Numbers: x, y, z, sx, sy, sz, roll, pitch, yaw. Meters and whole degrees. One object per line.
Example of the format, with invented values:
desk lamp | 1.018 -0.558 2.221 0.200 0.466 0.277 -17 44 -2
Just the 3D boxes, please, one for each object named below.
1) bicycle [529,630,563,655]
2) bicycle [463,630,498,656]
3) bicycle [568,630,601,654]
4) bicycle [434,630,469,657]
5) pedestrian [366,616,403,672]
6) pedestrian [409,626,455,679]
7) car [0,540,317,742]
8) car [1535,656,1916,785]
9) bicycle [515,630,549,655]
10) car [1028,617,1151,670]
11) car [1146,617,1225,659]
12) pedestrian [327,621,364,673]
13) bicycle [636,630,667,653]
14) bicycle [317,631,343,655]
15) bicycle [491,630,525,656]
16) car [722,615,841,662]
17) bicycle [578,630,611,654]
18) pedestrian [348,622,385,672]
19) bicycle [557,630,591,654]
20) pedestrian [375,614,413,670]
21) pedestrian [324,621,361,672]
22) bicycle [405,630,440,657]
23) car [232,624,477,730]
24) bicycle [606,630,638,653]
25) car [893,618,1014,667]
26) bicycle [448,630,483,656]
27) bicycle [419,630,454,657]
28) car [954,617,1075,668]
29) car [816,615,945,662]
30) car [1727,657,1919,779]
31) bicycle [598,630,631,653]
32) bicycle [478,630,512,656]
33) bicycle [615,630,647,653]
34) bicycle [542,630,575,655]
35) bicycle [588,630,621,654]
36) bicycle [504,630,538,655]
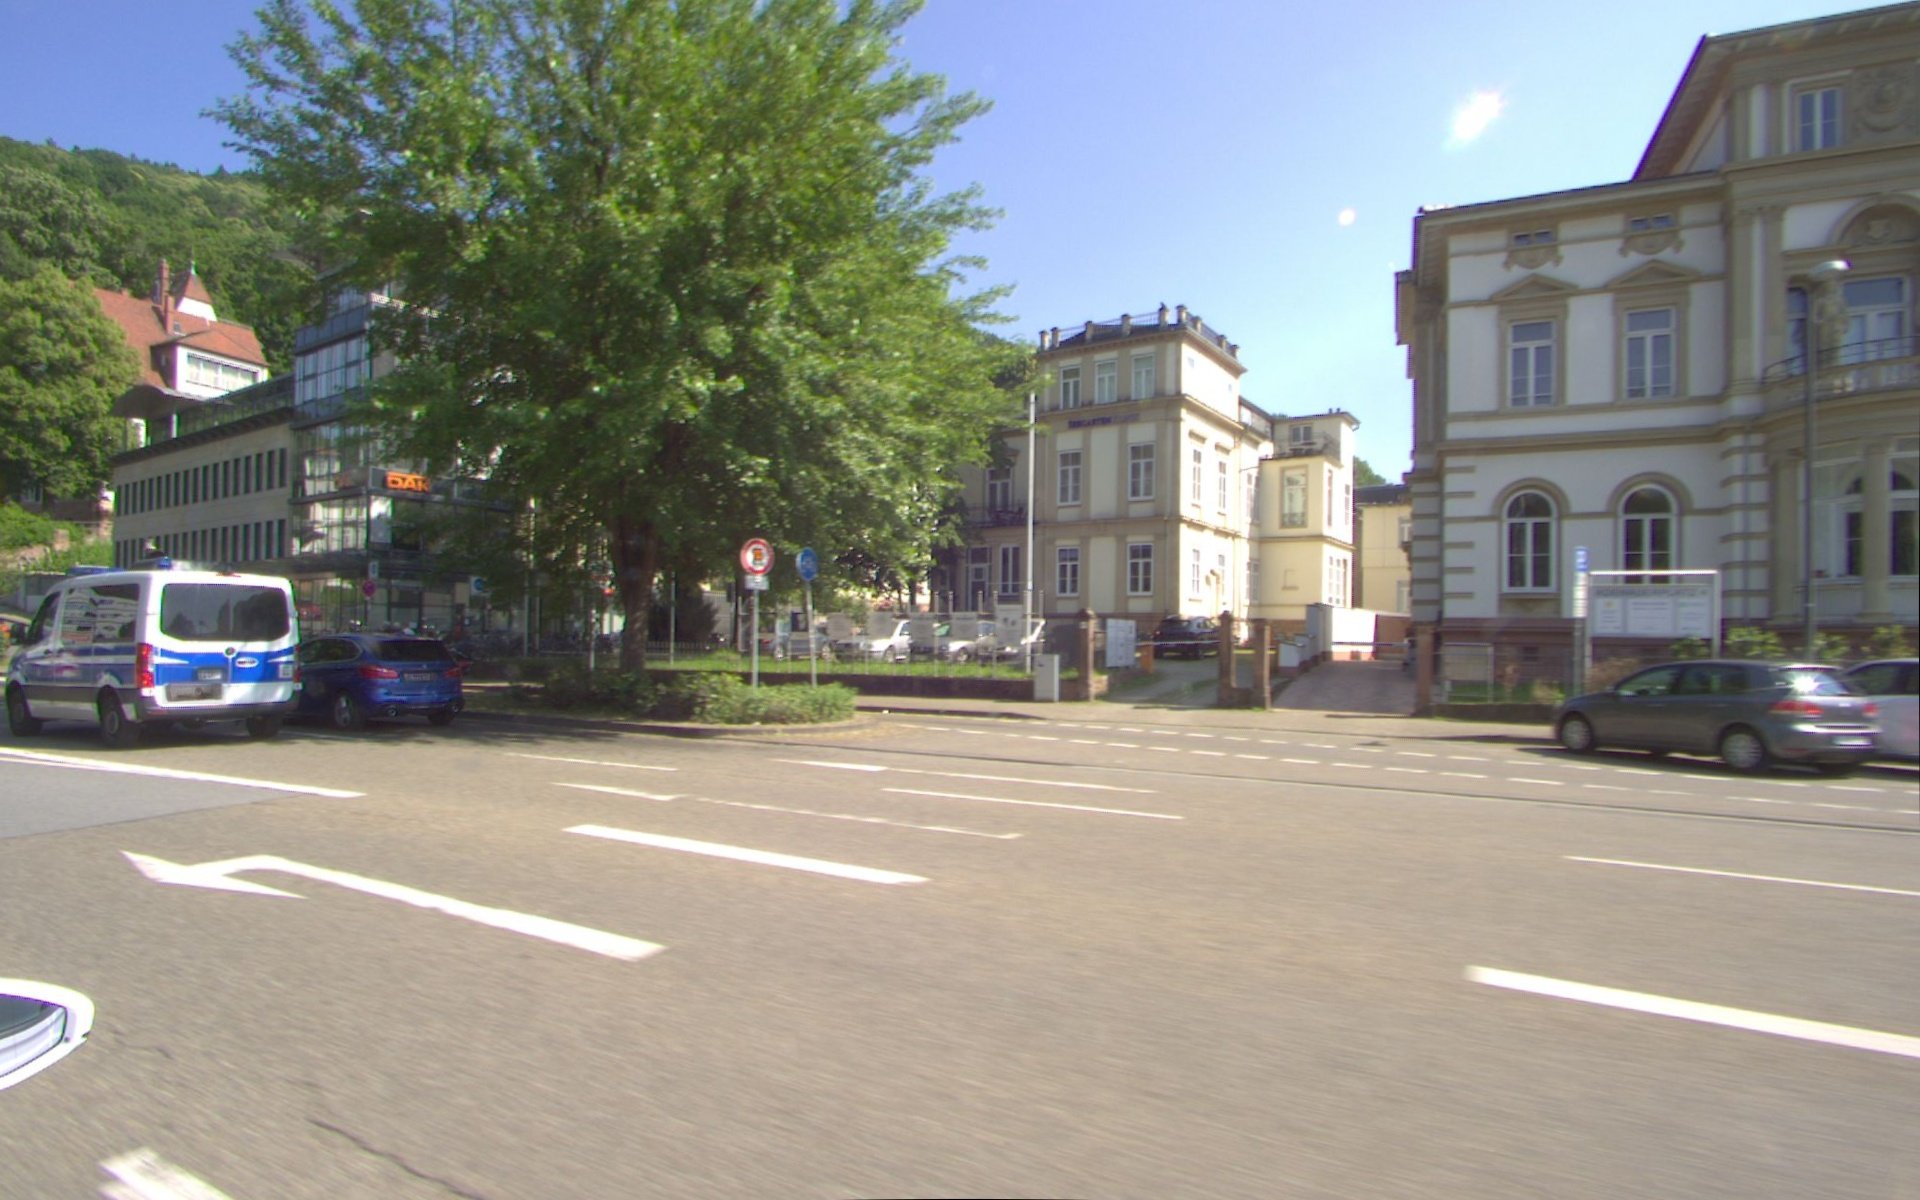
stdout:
bicycle | -18.935 1.933 45.810 1.810 1.099 0.536 0 -1 35
bicycle | -20.747 1.849 43.317 1.810 1.099 0.536 0 -1 35
bicycle | -17.770 1.985 47.337 1.810 1.099 0.536 0 -1 35
bicycle | -21.514 1.817 42.375 1.810 1.099 0.536 0 -1 35
pedestrian | -19.798 1.518 34.455 0.818 1.878 0.769 0 -2 35
pedestrian | -16.546 1.631 31.362 1.112 1.601 0.734 1 -2 -44
car | -11.909 0.597 14.804 4.857 2.540 2.071 -1 -3 31
car | 10.558 1.578 14.250 1.794 1.479 4.104 2 -2 -13
bicycle | -19.417 1.921 45.436 1.810 1.099 0.536 0 -1 35
car | 3.662 1.184 27.781 1.962 1.353 4.036 0 -2 31
car | 8.755 1.471 38.667 1.838 1.529 4.045 0 -2 30
pedestrian | -20.425 1.566 33.288 0.818 1.684 0.769 0 -2 34
bicycle | -15.731 2.111 51.076 1.810 1.099 0.536 0 -1 35
bicycle | -26.197 1.789 41.615 1.322 0.953 0.404 0 -1 34
bicycle | -20.054 1.885 44.387 1.810 1.099 0.536 0 -1 35
car | -6.011 1.312 34.242 1.849 1.494 4.141 0 -2 28
bicycle | -17.468 2.002 47.848 1.810 1.099 0.536 0 -1 35
pedestrian | -20.117 1.587 33.949 0.818 1.684 0.769 0 -2 35
bicycle | -18.050 1.967 46.798 1.810 1.099 0.536 0 -1 35
pedestrian | -19.117 1.418 33.821 0.818 1.878 0.770 0 -2 33
pedestrian | -20.896 1.559 33.864 0.818 1.684 0.769 0 -2 34
bicycle | -22.236 1.785 41.416 1.810 1.099 0.536 0 -1 35
car | -10.425 1.261 17.192 4.206 1.560 1.718 0 -3 30
bicycle | -16.720 2.058 49.528 1.810 1.099 0.536 0 -1 35
car | -0.107 1.254 30.056 1.794 1.353 4.080 0 -2 30
bicycle | -21.184 1.834 42.869 1.810 1.099 0.536 0 -1 35
bicycle | -21.884 1.800 41.850 1.810 1.099 0.536 0 -1 35
car | 1.654 1.216 28.864 1.833 1.353 4.036 0 -2 30
car | -2.386 1.187 31.174 1.794 1.353 4.461 0 -2 30
car | 13.033 1.589 13.693 1.683 1.530 3.806 2 -2 -16
bicycle | -16.890 2.038 48.925 1.810 1.099 0.536 0 -1 35
bicycle | -20.373 1.868 43.882 1.810 1.099 0.536 0 -1 35
bicycle | -16.438 2.076 50.061 1.810 1.099 0.536 0 -1 35
bicycle | -18.579 1.952 46.349 1.810 1.099 0.536 0 -1 35
bicycle | -17.172 2.020 48.373 1.810 1.099 0.536 0 -1 35
bicycle | -19.704 1.904 44.931 1.810 1.099 0.536 0 -1 35
